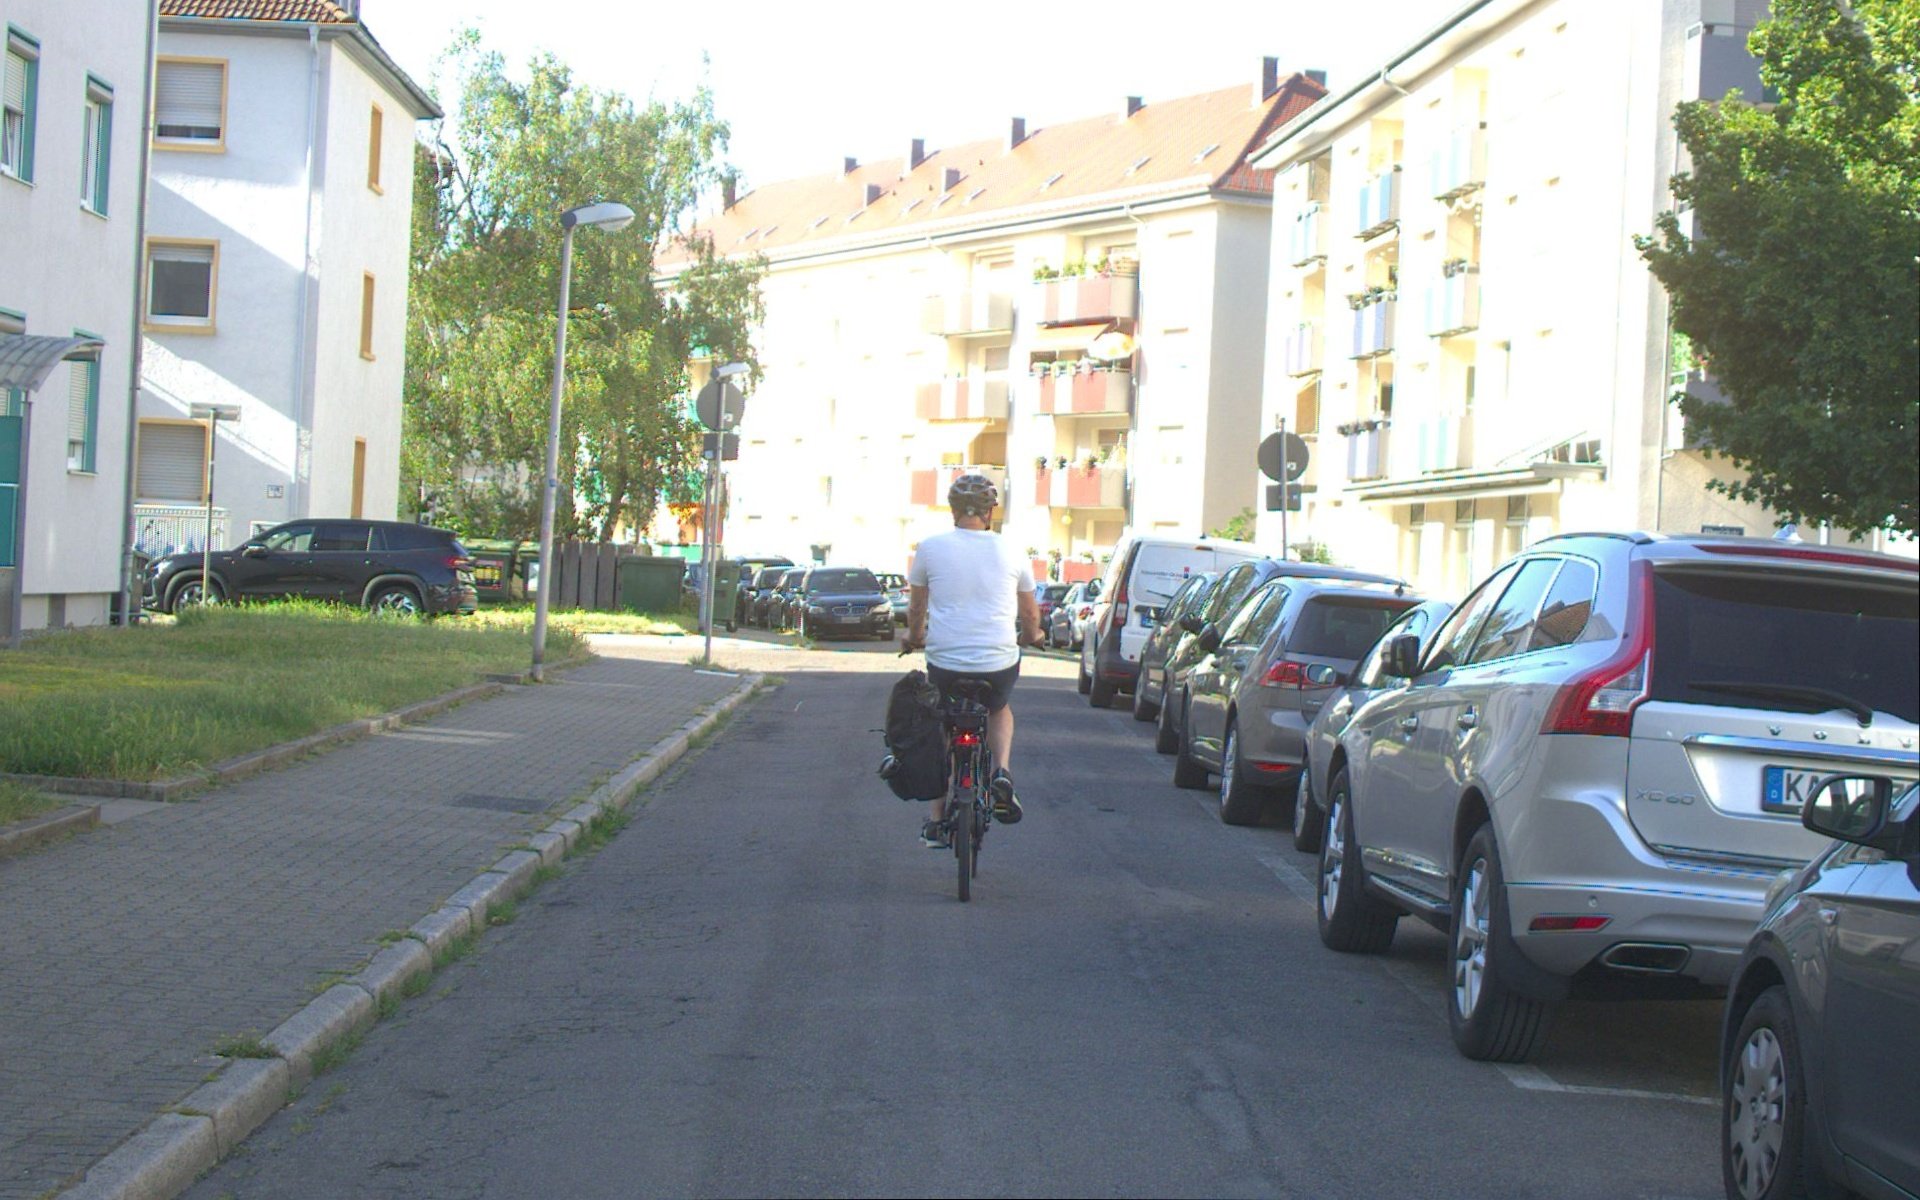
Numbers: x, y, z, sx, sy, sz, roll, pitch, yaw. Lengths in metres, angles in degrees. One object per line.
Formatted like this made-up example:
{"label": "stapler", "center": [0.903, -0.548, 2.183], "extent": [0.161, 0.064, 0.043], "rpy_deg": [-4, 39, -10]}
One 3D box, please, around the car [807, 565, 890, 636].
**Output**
{"label": "car", "center": [-2.223, -0.006, 68.116], "extent": [1.469, 1.331, 3.141], "rpy_deg": [-1, 1, -5]}

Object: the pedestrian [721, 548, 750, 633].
{"label": "pedestrian", "center": [-4.195, -0.184, 64.253], "extent": [0.434, 1.569, 0.543], "rpy_deg": [3, 1, -1]}

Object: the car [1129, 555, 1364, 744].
{"label": "car", "center": [2.472, 0.391, 30.371], "extent": [1.558, 1.448, 3.367], "rpy_deg": [4, 1, -3]}

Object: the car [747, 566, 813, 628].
{"label": "car", "center": [-4.158, -0.085, 79.128], "extent": [1.469, 1.331, 3.141], "rpy_deg": [-1, 1, -3]}

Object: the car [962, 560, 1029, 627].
{"label": "car", "center": [0.860, -0.174, 84.626], "extent": [1.381, 1.492, 3.077], "rpy_deg": [4, 1, -3]}

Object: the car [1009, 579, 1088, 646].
{"label": "car", "center": [1.988, 0.264, 77.696], "extent": [1.469, 1.331, 3.141], "rpy_deg": [4, 1, -3]}

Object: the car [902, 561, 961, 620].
{"label": "car", "center": [-0.827, -0.285, 97.258], "extent": [1.469, 1.511, 3.077], "rpy_deg": [4, 1, -3]}

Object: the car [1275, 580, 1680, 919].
{"label": "car", "center": [2.459, 0.657, 16.974], "extent": [1.391, 1.398, 3.244], "rpy_deg": [4, 1, -1]}

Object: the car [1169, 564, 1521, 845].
{"label": "car", "center": [2.230, 0.554, 20.828], "extent": [1.559, 1.406, 3.934], "rpy_deg": [4, 1, -1]}

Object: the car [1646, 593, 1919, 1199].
{"label": "car", "center": [2.648, 0.827, 6.510], "extent": [1.618, 1.455, 3.842], "rpy_deg": [5, 1, -3]}

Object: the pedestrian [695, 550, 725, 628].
{"label": "pedestrian", "center": [-4.669, -0.213, 64.214], "extent": [0.434, 1.422, 0.543], "rpy_deg": [3, 1, -1]}

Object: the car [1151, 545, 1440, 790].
{"label": "car", "center": [2.406, 0.438, 25.375], "extent": [1.558, 1.571, 3.367], "rpy_deg": [4, 1, -3]}

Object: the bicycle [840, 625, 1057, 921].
{"label": "bicycle", "center": [-0.083, 0.710, 15.024], "extent": [0.808, 1.124, 2.102], "rpy_deg": [2, 1, -3]}

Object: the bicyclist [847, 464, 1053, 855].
{"label": "bicyclist", "center": [-0.056, 0.246, 15.039], "extent": [0.808, 1.638, 0.899], "rpy_deg": [2, 1, -3]}

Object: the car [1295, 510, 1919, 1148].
{"label": "car", "center": [2.334, 0.599, 11.573], "extent": [1.700, 1.665, 4.380], "rpy_deg": [4, 1, -2]}

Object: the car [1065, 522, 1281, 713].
{"label": "car", "center": [2.117, 0.124, 35.079], "extent": [1.674, 1.733, 3.943], "rpy_deg": [4, 1, -3]}

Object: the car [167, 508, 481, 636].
{"label": "car", "center": [-9.083, -0.412, 49.331], "extent": [4.231, 1.633, 1.583], "rpy_deg": [2, 1, -4]}
